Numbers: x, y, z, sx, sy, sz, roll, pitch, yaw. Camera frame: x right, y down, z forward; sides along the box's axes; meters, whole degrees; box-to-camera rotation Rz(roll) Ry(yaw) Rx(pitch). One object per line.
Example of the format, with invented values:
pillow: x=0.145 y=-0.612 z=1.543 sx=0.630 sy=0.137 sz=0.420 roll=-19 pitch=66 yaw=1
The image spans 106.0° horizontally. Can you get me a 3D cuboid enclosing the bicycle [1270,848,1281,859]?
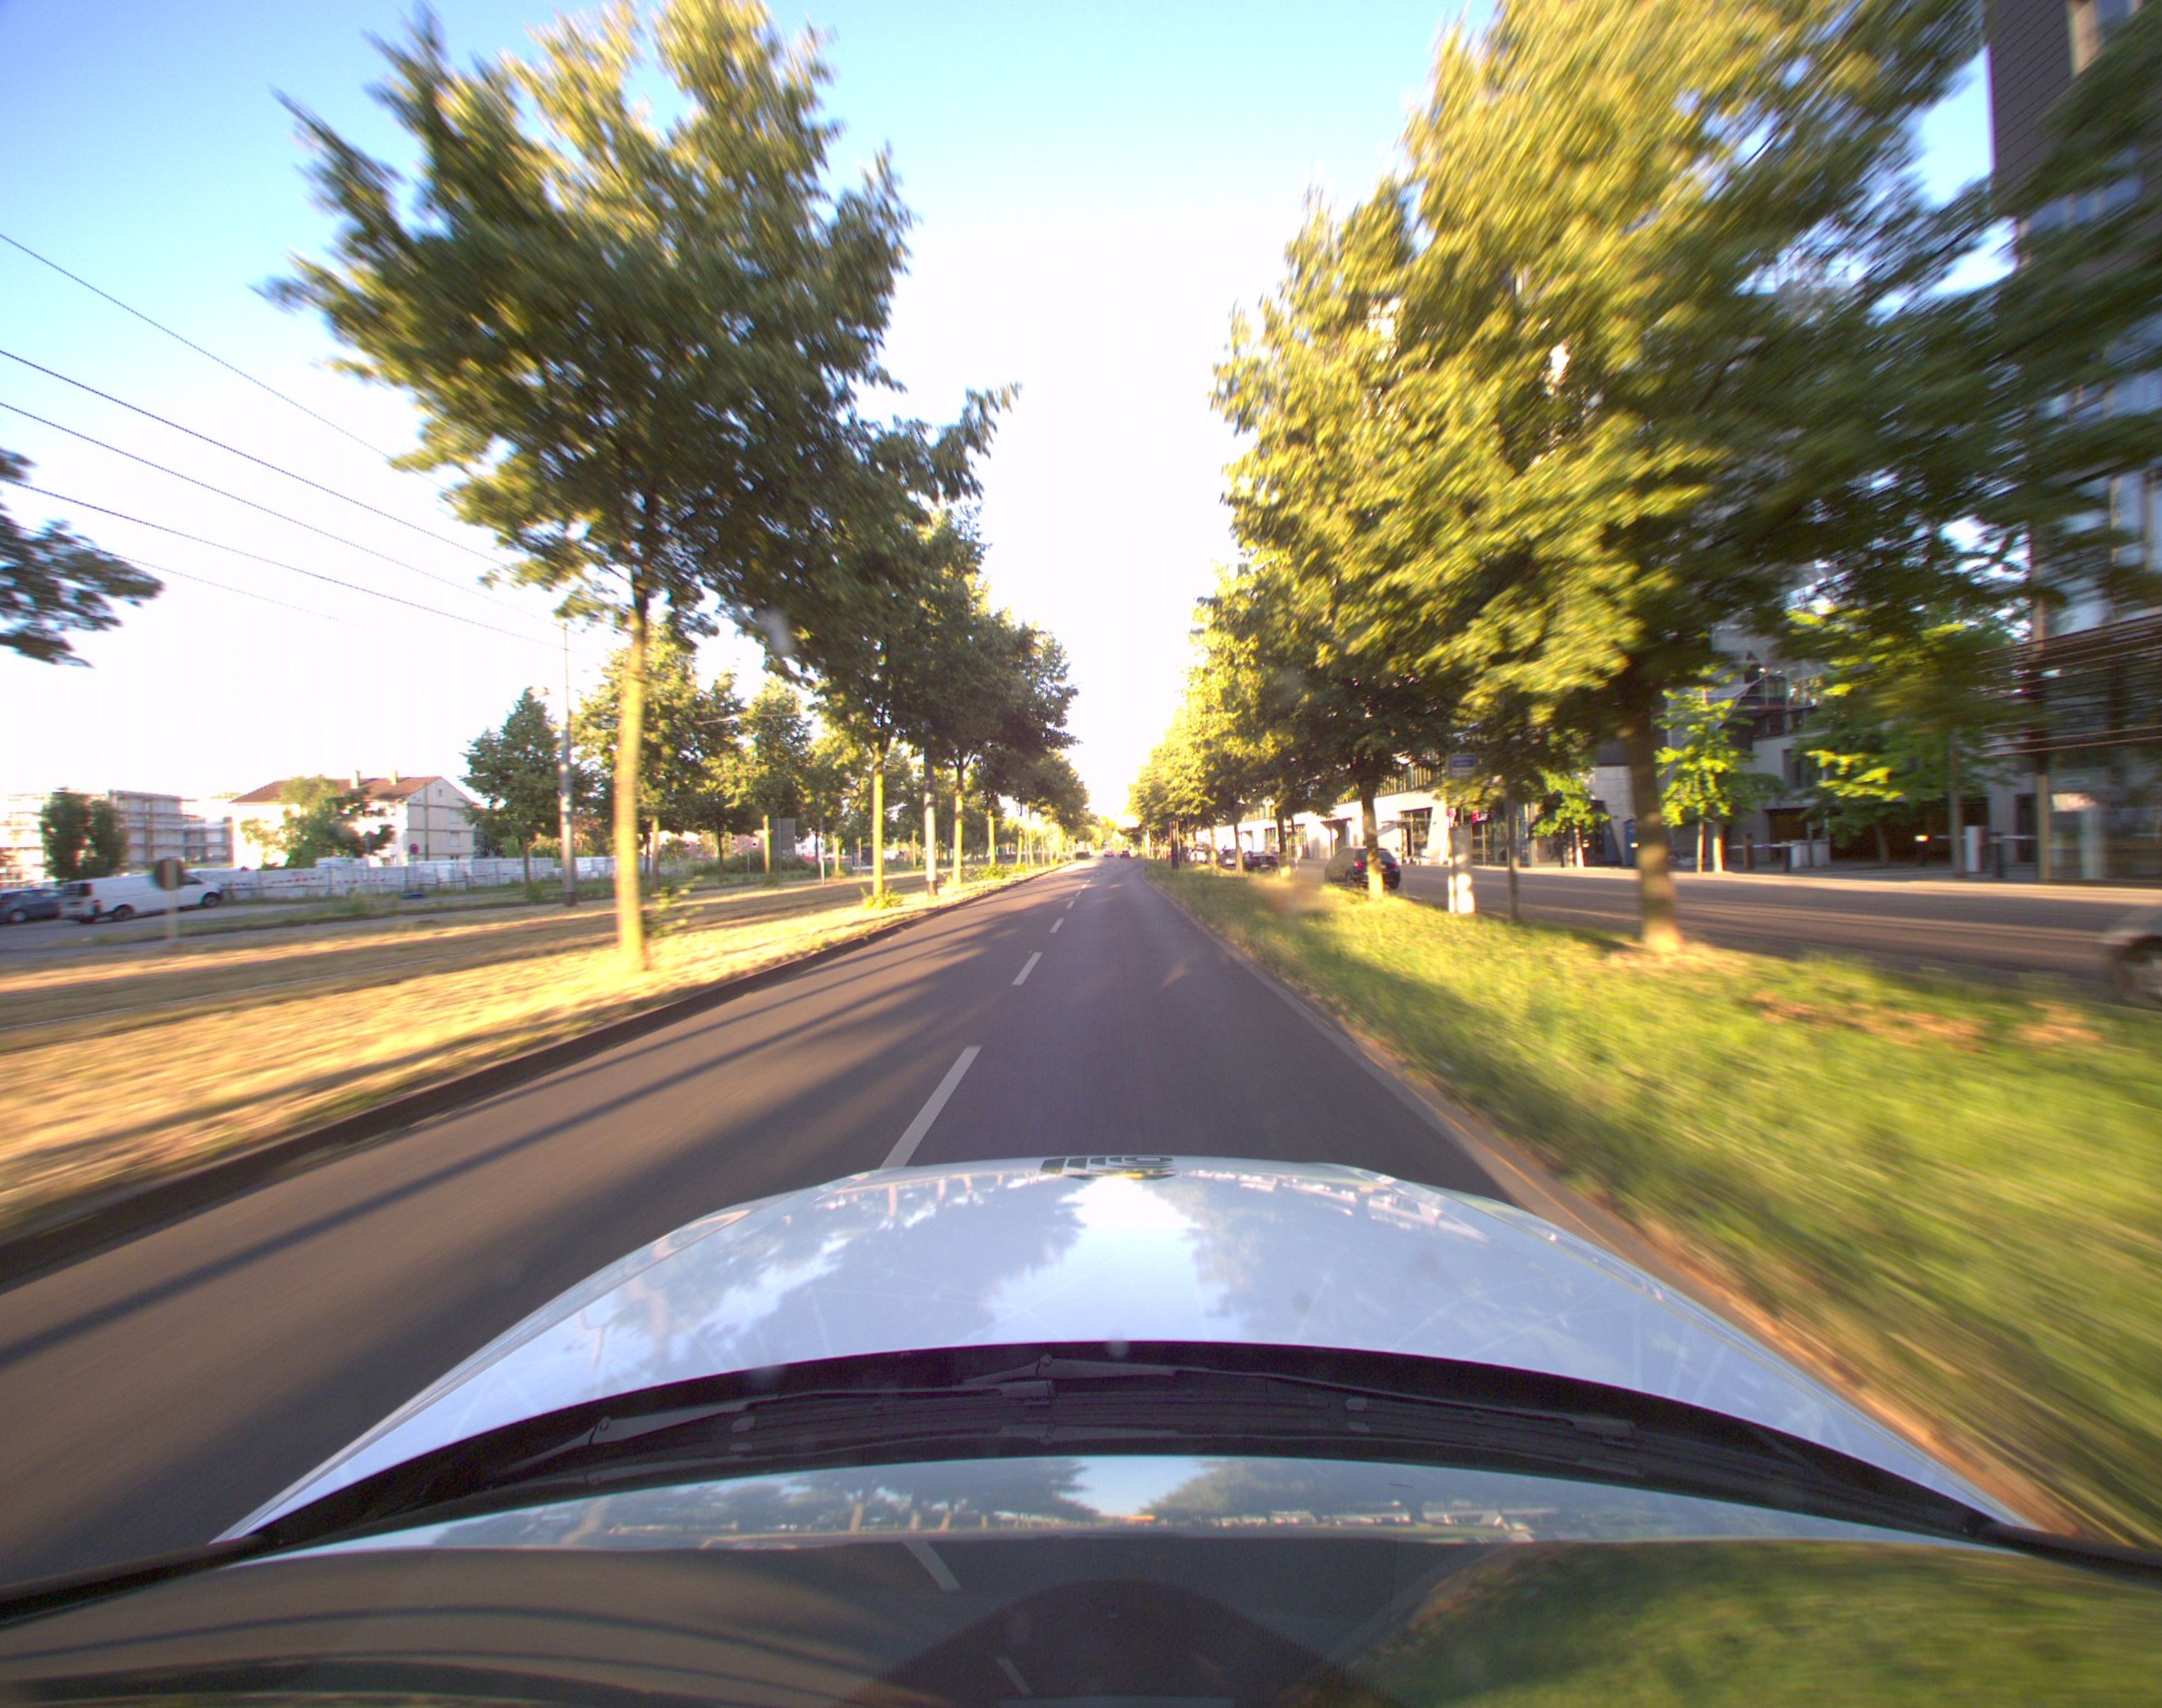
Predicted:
bicycle: x=18.400 y=-0.043 z=77.139 sx=0.592 sy=1.039 sz=1.894 roll=-2 pitch=0 yaw=3

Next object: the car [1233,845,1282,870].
car: x=10.627 y=0.183 z=49.343 sx=1.846 sy=1.367 sz=4.834 roll=-2 pitch=0 yaw=0

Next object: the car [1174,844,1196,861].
car: x=12.349 y=-0.176 z=96.756 sx=1.987 sy=1.852 sz=4.664 roll=-2 pitch=0 yaw=0

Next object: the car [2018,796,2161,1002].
car: x=9.142 y=0.368 z=5.137 sx=1.832 sy=1.570 sz=4.062 roll=1 pitch=0 yaw=1

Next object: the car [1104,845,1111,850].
car: x=7.942 y=-1.849 z=244.875 sx=1.905 sy=1.486 sz=4.001 roll=-2 pitch=0 yaw=1

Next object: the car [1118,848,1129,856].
car: x=7.876 y=-0.395 z=150.350 sx=1.905 sy=1.486 sz=4.001 roll=-1 pitch=0 yaw=1

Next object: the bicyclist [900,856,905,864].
bicyclist: x=-31.757 y=1.112 z=145.156 sx=0.617 sy=1.456 sz=0.937 roll=-2 pitch=0 yaw=0

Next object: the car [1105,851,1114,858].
car: x=6.436 y=0.035 z=181.266 sx=1.905 sy=1.486 sz=4.001 roll=-2 pitch=0 yaw=1

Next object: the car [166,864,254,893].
car: x=-64.719 y=1.783 z=60.637 sx=1.791 sy=1.982 sz=4.313 roll=-2 pitch=0 yaw=1

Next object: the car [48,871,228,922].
car: x=-43.284 y=1.877 z=37.608 sx=2.198 sy=2.013 sz=5.087 roll=-2 pitch=0 yaw=2

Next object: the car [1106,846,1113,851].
car: x=7.950 y=-1.498 z=230.265 sx=1.905 sy=1.486 sz=4.001 roll=-2 pitch=0 yaw=1

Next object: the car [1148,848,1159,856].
car: x=14.554 y=-0.439 z=164.472 sx=1.751 sy=1.466 sz=4.157 roll=-2 pitch=0 yaw=0

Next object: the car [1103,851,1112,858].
car: x=6.248 y=0.139 z=192.593 sx=1.905 sy=1.486 sz=4.001 roll=-2 pitch=0 yaw=1

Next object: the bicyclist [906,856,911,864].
bicyclist: x=-30.746 y=1.089 z=145.296 sx=0.617 sy=1.456 sz=0.937 roll=-2 pitch=0 yaw=0

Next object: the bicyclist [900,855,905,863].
bicyclist: x=-31.283 y=0.815 z=142.582 sx=0.617 sy=1.421 sz=0.937 roll=-2 pitch=0 yaw=0

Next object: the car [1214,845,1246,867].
car: x=10.810 y=0.143 z=59.323 sx=1.703 sy=1.515 sz=3.760 roll=1 pitch=0 yaw=1

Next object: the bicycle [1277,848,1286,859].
bicycle: x=18.954 y=-0.042 z=76.854 sx=0.468 sy=1.039 sz=1.808 roll=-2 pitch=0 yaw=3

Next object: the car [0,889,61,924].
car: x=-51.901 y=2.554 z=38.598 sx=1.986 sy=1.510 sz=4.002 roll=-2 pitch=0 yaw=2

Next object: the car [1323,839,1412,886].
car: x=9.852 y=0.254 z=28.329 sx=1.774 sy=1.494 sz=4.002 roll=1 pitch=1 yaw=2

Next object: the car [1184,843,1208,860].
car: x=11.834 y=-0.306 z=83.997 sx=1.985 sy=1.642 sz=4.882 roll=-2 pitch=0 yaw=3

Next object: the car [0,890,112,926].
car: x=-48.800 y=2.509 z=38.122 sx=1.986 sy=1.418 sz=4.002 roll=-2 pitch=0 yaw=2

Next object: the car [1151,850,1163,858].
car: x=13.940 y=-0.006 z=149.258 sx=1.772 sy=1.472 sz=4.288 roll=-2 pitch=0 yaw=0

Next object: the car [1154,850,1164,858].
car: x=13.656 y=-0.015 z=142.409 sx=1.569 sy=1.472 sz=3.884 roll=-2 pitch=0 yaw=2

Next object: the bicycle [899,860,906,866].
bicycle: x=-31.757 y=1.563 z=144.947 sx=0.617 sy=1.011 sz=2.083 roll=-2 pitch=0 yaw=0
